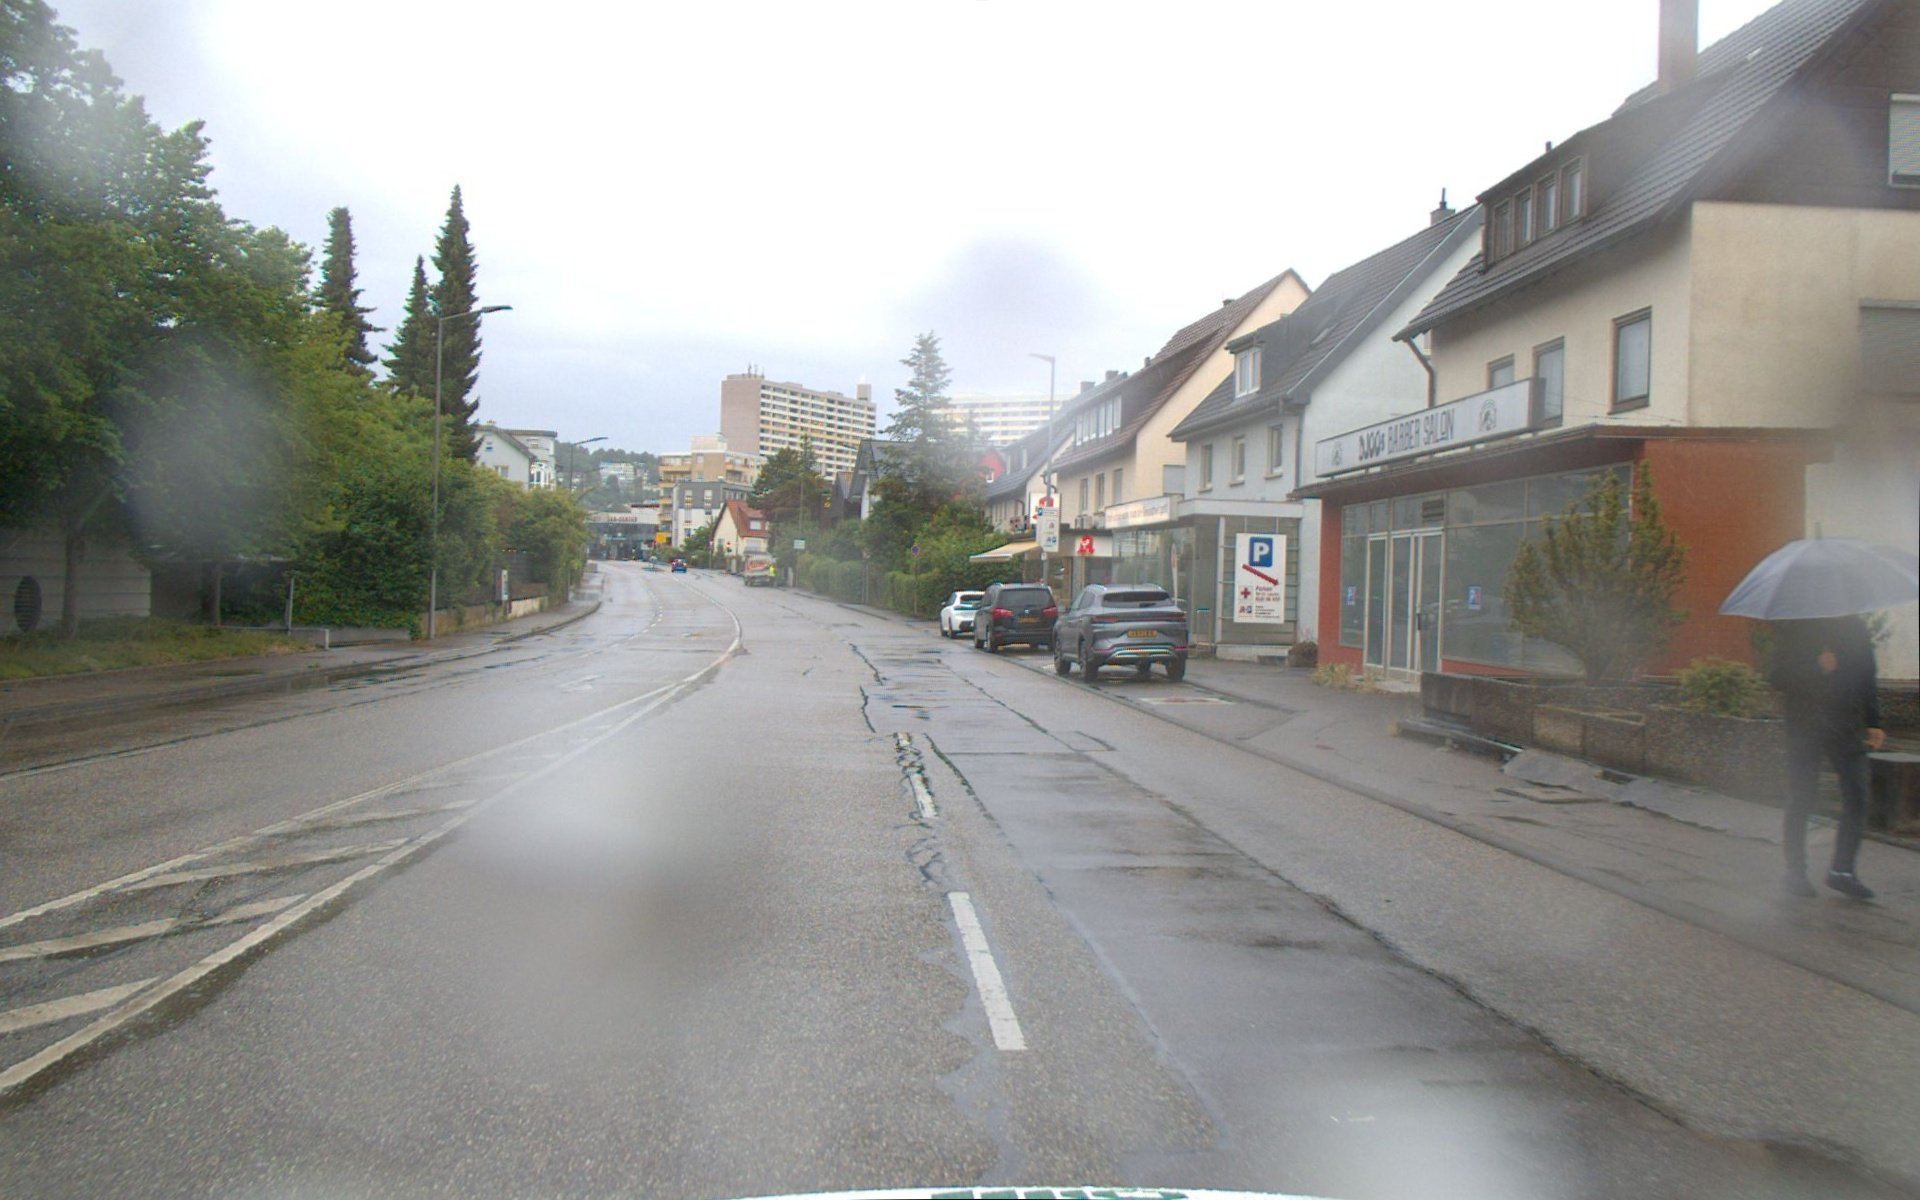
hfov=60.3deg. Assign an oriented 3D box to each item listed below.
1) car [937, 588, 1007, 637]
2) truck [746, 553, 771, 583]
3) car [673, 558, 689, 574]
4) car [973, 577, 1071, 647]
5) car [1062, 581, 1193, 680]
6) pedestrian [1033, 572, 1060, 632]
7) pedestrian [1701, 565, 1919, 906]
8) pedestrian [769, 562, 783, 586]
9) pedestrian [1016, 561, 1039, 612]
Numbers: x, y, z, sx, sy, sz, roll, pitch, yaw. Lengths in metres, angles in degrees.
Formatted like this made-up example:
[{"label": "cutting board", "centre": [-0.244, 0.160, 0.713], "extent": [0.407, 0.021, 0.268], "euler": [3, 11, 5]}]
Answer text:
[{"label": "car", "centre": [0.361, 0.372, 53.594], "extent": [1.780, 1.473, 4.198], "euler": [-1, 1, -6]}, {"label": "truck", "centre": [-16.204, -2.582, 132.881], "extent": [1.956, 2.343, 3.994], "euler": [1, 1, -8]}, {"label": "car", "centre": [-31.449, -3.789, 186.215], "extent": [1.761, 1.699, 3.991], "euler": [0, 0, -10]}, {"label": "car", "centre": [1.579, 0.303, 43.760], "extent": [1.996, 1.725, 4.958], "euler": [-1, 0, -5]}, {"label": "car", "centre": [3.048, 0.533, 30.972], "extent": [1.837, 1.671, 4.791], "euler": [-1, 0, -1]}, {"label": "pedestrian", "centre": [2.782, 0.065, 53.273], "extent": [0.610, 1.924, 0.646], "euler": [1, 0, 29]}, {"label": "pedestrian", "centre": [4.402, 0.658, 8.408], "extent": [0.737, 1.595, 0.993], "euler": [3, -1, -2]}, {"label": "pedestrian", "centre": [-14.314, -2.026, 128.528], "extent": [0.814, 1.828, 0.792], "euler": [0, 1, -30]}, {"label": "pedestrian", "centre": [2.305, -0.458, 56.414], "extent": [0.547, 1.708, 0.508], "euler": [1, 0, -44]}]
